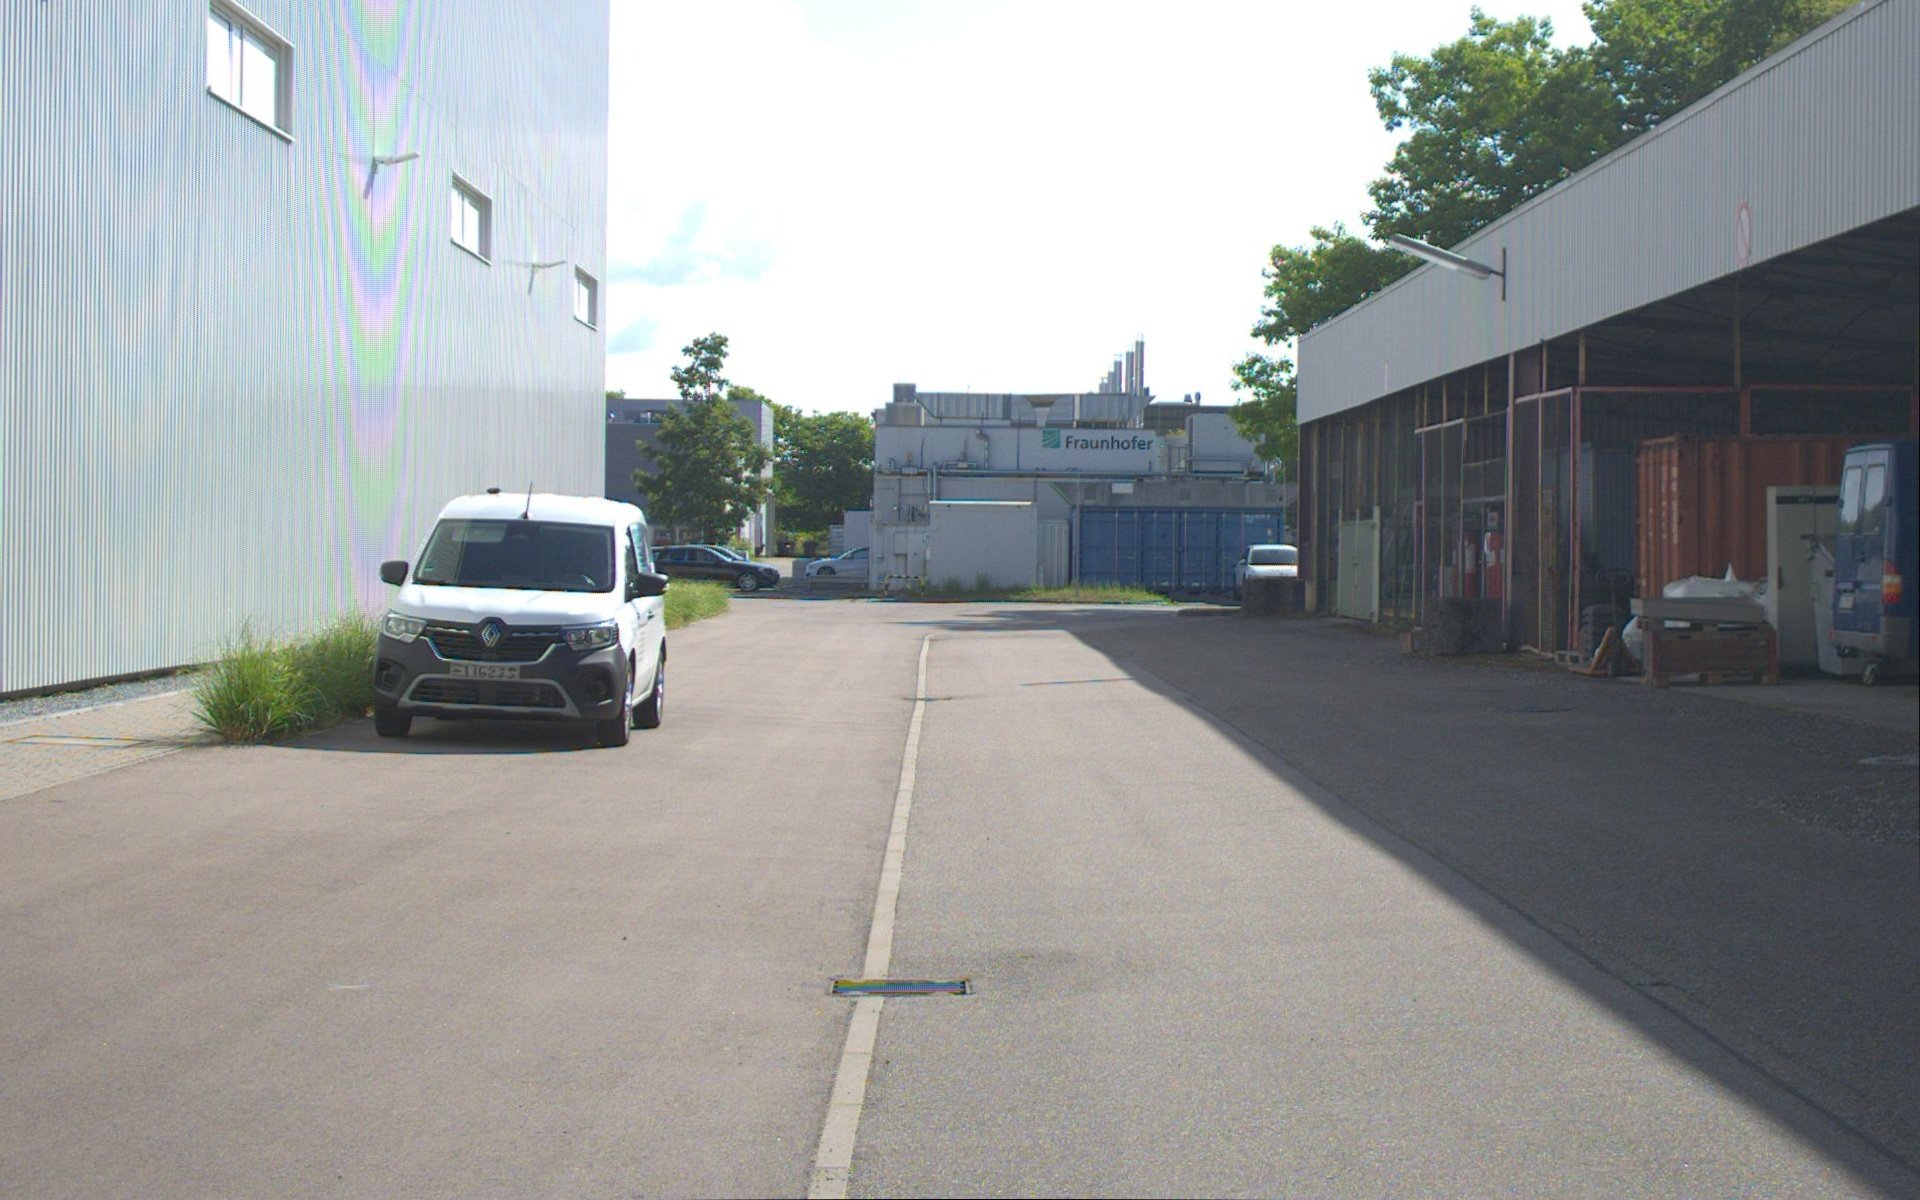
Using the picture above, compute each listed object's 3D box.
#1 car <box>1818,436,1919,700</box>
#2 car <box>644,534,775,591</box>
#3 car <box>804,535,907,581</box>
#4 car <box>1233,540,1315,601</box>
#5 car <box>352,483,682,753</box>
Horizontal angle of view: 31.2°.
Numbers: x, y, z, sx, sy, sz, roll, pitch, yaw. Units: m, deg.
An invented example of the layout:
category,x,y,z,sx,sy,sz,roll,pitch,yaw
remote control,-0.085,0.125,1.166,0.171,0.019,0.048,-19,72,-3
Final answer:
category,x,y,z,sx,sy,sz,roll,pitch,yaw
car,10.226,-0.192,31.004,4.433,2.302,1.915,2,-1,1
car,-7.851,-1.158,107.976,3.987,1.592,1.742,2,-1,-1
car,-4.134,-1.657,135.838,3.987,1.592,1.848,2,-1,-1
car,8.701,-0.831,95.487,1.962,1.559,4.059,2,1,2
car,-3.214,0.076,25.741,1.818,1.781,4.405,2,1,0
